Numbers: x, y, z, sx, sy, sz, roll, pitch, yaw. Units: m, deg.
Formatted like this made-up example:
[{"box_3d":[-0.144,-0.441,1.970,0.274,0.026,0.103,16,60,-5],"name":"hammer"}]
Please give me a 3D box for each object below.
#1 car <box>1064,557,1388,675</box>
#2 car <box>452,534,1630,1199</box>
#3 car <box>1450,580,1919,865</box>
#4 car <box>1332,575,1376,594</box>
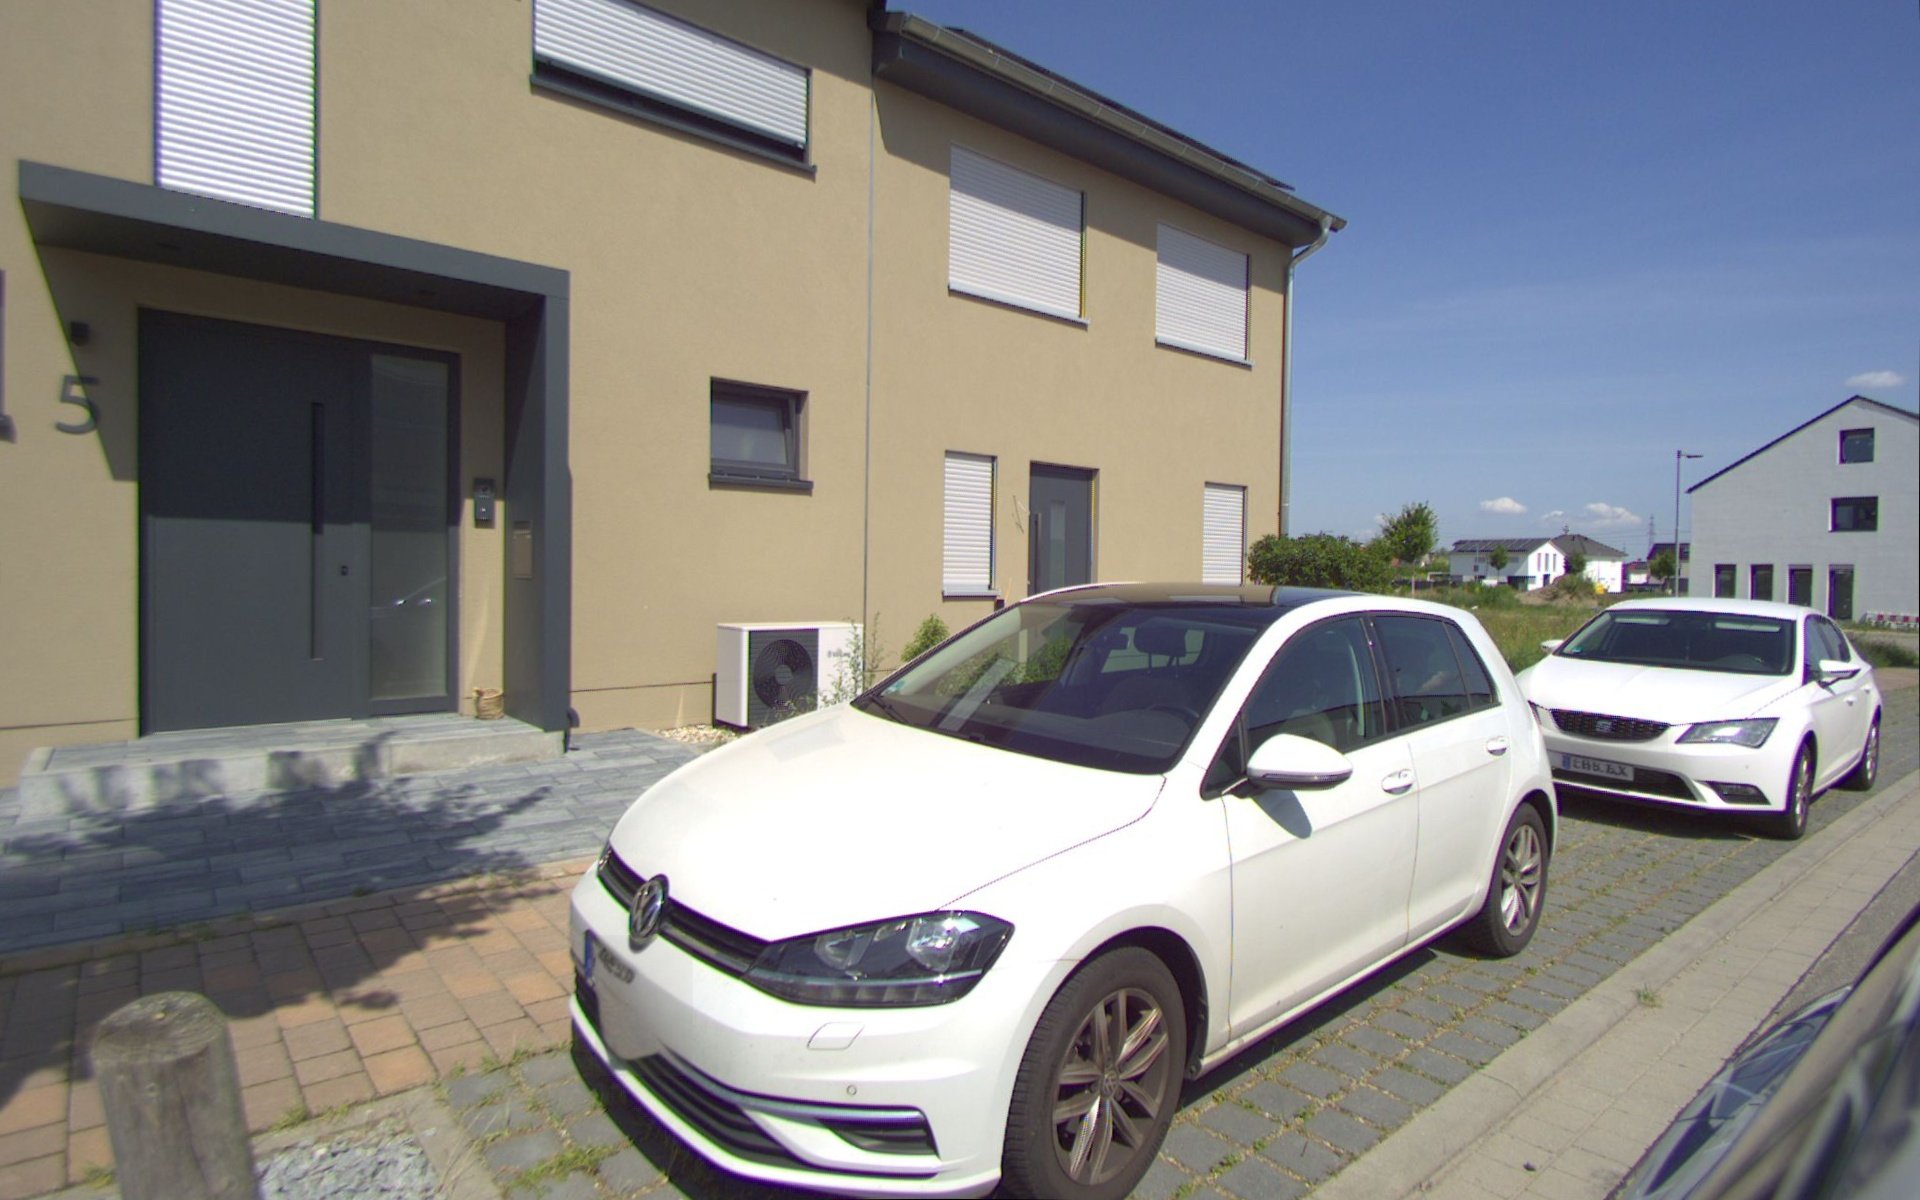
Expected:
[{"box_3d":[4.115,0.149,16.514,1.963,1.443,4.904,0,4,-37],"name":"car"},{"box_3d":[0.756,0.595,3.787,4.435,1.443,1.783,1,2,-41],"name":"car"},{"box_3d":[5.652,0.648,7.616,4.483,1.473,1.819,0,3,-40],"name":"car"},{"box_3d":[36.799,-1.450,94.621,3.921,1.636,1.811,0,2,-32],"name":"car"}]
